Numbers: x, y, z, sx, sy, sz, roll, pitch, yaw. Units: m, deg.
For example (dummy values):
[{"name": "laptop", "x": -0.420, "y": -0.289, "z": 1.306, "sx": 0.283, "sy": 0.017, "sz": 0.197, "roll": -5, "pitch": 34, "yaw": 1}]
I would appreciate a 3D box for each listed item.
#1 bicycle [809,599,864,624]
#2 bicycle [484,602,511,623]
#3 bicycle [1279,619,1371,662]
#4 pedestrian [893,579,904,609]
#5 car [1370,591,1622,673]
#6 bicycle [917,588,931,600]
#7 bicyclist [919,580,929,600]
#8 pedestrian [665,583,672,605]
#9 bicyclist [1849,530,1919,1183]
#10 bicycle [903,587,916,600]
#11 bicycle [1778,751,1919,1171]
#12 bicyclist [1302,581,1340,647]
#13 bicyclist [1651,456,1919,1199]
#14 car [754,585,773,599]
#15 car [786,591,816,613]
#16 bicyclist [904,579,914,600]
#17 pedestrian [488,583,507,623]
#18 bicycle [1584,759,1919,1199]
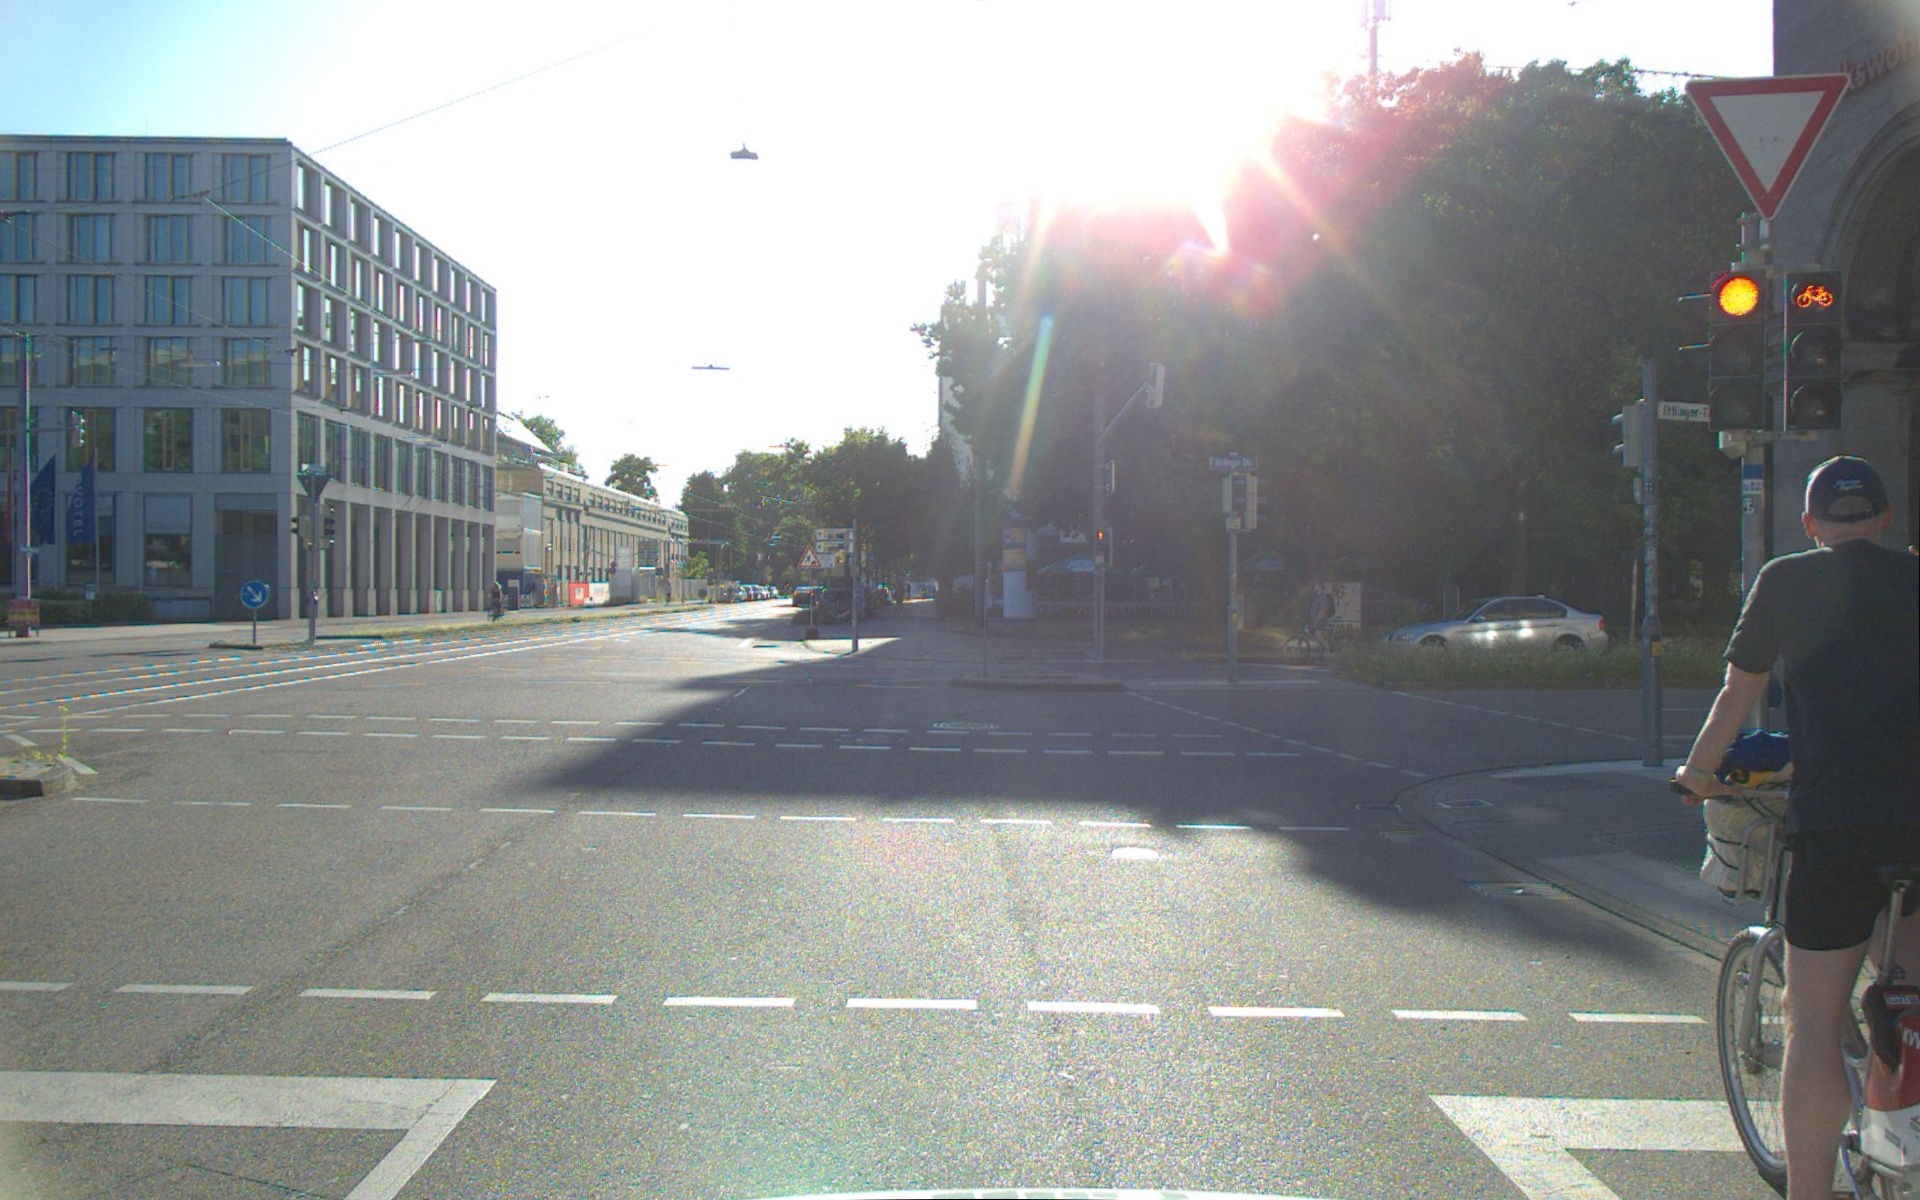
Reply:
[{"name": "bicycle", "x": -5.018, "y": 0.459, "z": 67.123, "sx": 2.201, "sy": 0.956, "sz": 0.653, "roll": 0, "pitch": 0, "yaw": -6}, {"name": "bicycle", "x": -19.114, "y": 0.509, "z": 68.395, "sx": 0.560, "sy": 0.837, "sz": 1.719, "roll": 0, "pitch": 0, "yaw": 2}, {"name": "bicycle", "x": 8.034, "y": 0.884, "z": 36.486, "sx": 1.902, "sy": 0.905, "sz": 0.718, "roll": 1, "pitch": 0, "yaw": 5}, {"name": "pedestrian", "x": -3.610, "y": -0.348, "z": 97.589, "sx": 0.566, "sy": 1.719, "sz": 0.584, "roll": 0, "pitch": 0, "yaw": -8}, {"name": "car", "x": 10.849, "y": 0.633, "z": 33.726, "sx": 4.483, "sy": 1.543, "sz": 2.000, "roll": 1, "pitch": 0, "yaw": -1}, {"name": "bicycle", "x": -3.698, "y": -0.644, "z": 170.586, "sx": 0.875, "sy": 1.240, "sz": 2.785, "roll": 1, "pitch": 0, "yaw": -12}, {"name": "bicyclist", "x": -3.757, "y": -1.048, "z": 170.928, "sx": 0.875, "sy": 2.049, "sz": 0.746, "roll": 1, "pitch": -1, "yaw": -12}, {"name": "pedestrian", "x": -24.977, "y": -0.521, "z": 141.700, "sx": 0.577, "sy": 1.922, "sz": 0.477, "roll": 1, "pitch": -1, "yaw": -8}, {"name": "bicyclist", "x": 2.885, "y": 0.694, "z": 4.354, "sx": 0.572, "sy": 1.769, "sz": 0.950, "roll": 0, "pitch": 0, "yaw": 0}, {"name": "bicycle", "x": -5.220, "y": -0.672, "z": 170.199, "sx": 0.875, "sy": 1.240, "sz": 2.785, "roll": 1, "pitch": 0, "yaw": -12}, {"name": "bicycle", "x": 2.885, "y": 1.015, "z": 4.389, "sx": 0.570, "sy": 1.062, "sz": 1.747, "roll": 0, "pitch": 0, "yaw": 0}, {"name": "bicyclist", "x": 7.955, "y": 0.308, "z": 36.493, "sx": 0.731, "sy": 1.431, "sz": 0.702, "roll": 1, "pitch": -1, "yaw": 6}, {"name": "bicyclist", "x": 2.142, "y": 0.571, "z": 3.902, "sx": 0.610, "sy": 1.745, "sz": 0.912, "roll": 0, "pitch": 0, "yaw": -2}, {"name": "car", "x": -23.071, "y": -0.933, "z": 194.354, "sx": 1.954, "sy": 1.673, "sz": 3.997, "roll": 0, "pitch": 0, "yaw": -4}, {"name": "car", "x": -12.284, "y": 0.179, "z": 128.083, "sx": 1.953, "sy": 1.668, "sz": 3.999, "roll": 1, "pitch": 0, "yaw": -1}, {"name": "bicyclist", "x": -5.269, "y": -1.077, "z": 170.411, "sx": 0.875, "sy": 2.049, "sz": 0.746, "roll": 1, "pitch": -1, "yaw": -12}, {"name": "pedestrian", "x": -19.118, "y": 0.112, "z": 68.417, "sx": 0.560, "sy": 1.623, "sz": 0.745, "roll": 0, "pitch": 0, "yaw": 2}, {"name": "bicycle", "x": 2.139, "y": 0.999, "z": 3.914, "sx": 0.610, "sy": 1.062, "sz": 1.746, "roll": 0, "pitch": 0, "yaw": -2}]
